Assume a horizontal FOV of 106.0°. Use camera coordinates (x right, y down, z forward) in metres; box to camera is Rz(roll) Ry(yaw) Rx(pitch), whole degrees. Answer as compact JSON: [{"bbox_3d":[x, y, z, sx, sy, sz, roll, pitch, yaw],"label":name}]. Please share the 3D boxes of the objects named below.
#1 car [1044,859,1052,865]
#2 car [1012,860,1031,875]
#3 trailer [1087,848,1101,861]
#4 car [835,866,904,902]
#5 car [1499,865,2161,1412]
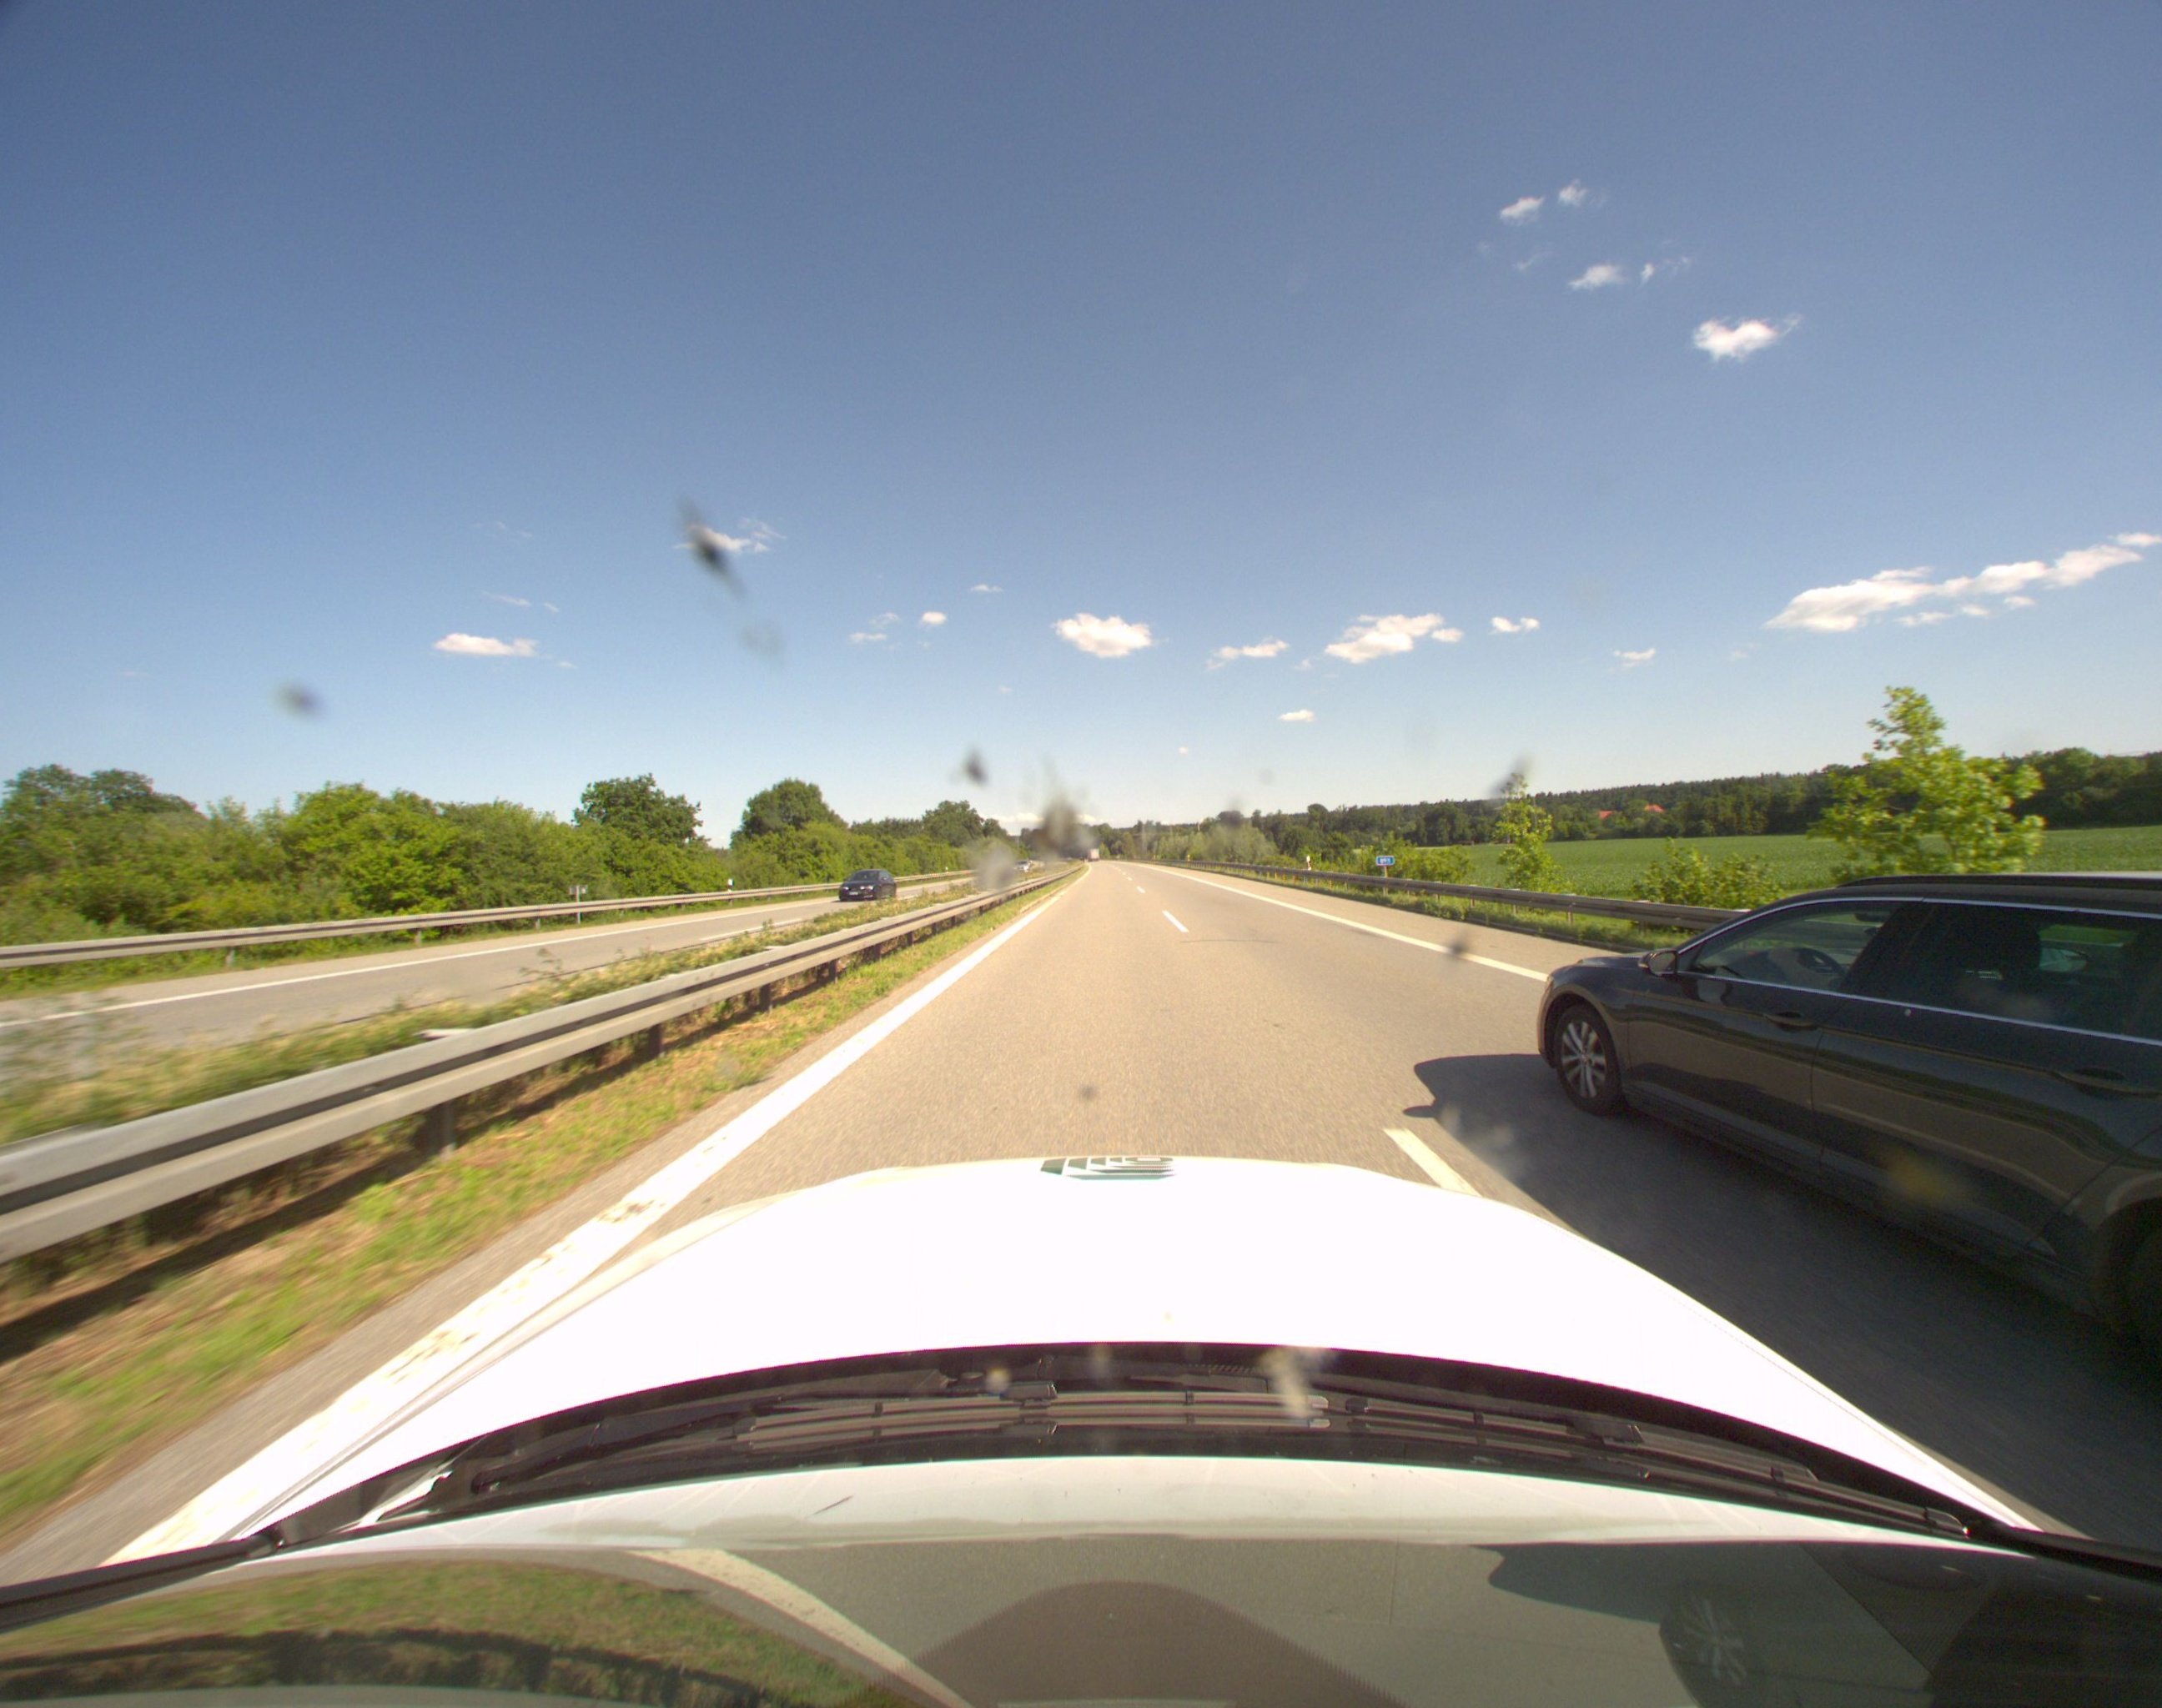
[{"bbox_3d":[-8.086,1.895,200.132,1.671,1.441,3.999,-4,0,0],"label":"car"},{"bbox_3d":[-7.116,1.558,97.751,1.904,1.588,4.915,-4,0,0],"label":"car"},{"bbox_3d":[4.106,0.105,262.640,2.881,4.065,12.394,-4,0,-6],"label":"trailer"},{"bbox_3d":[-9.801,1.362,38.102,1.732,1.445,4.771,-3,0,3],"label":"car"},{"bbox_3d":[3.670,0.752,3.351,1.712,1.400,4.414,0,-1,1],"label":"car"}]
